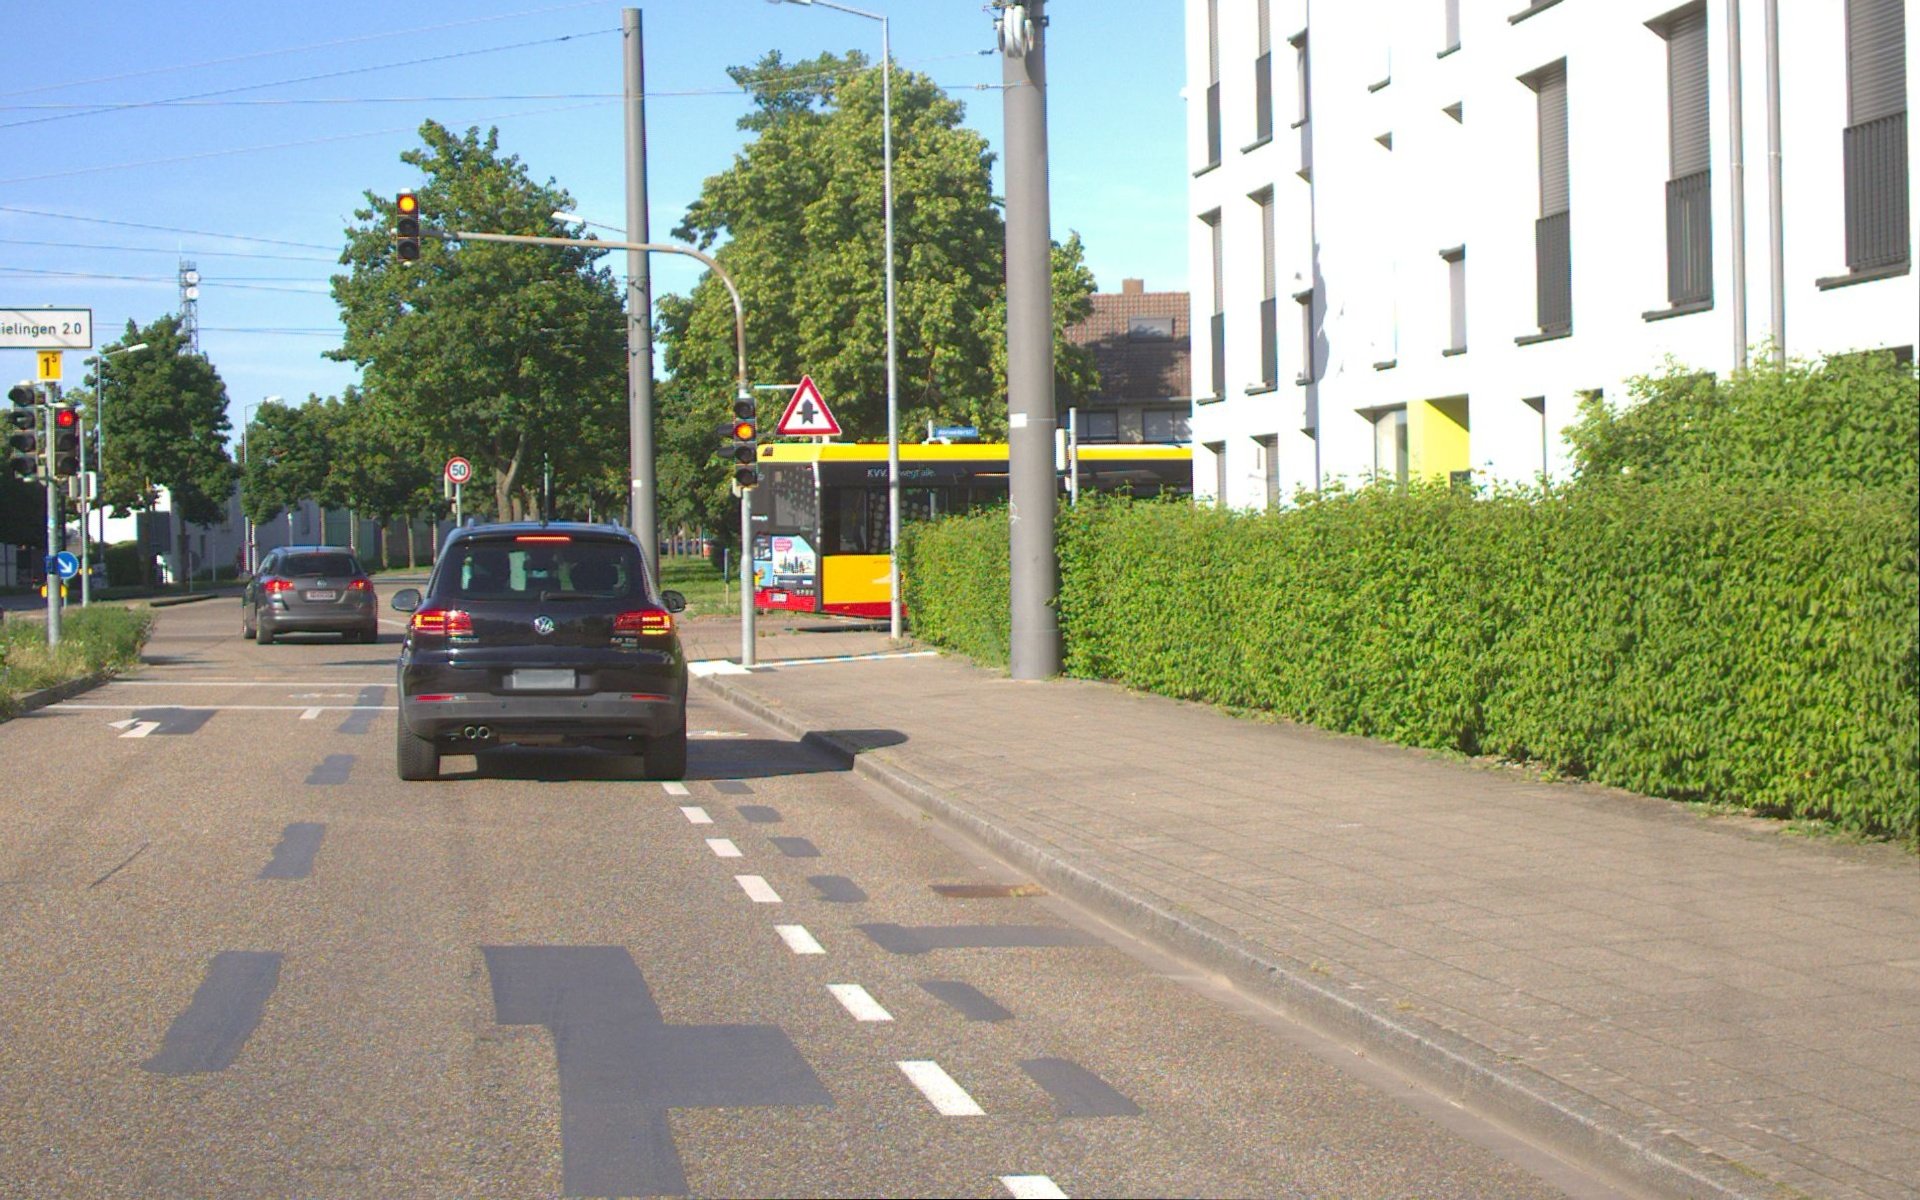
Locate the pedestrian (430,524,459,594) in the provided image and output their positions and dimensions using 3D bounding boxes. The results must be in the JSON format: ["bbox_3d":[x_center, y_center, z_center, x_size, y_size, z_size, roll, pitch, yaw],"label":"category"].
[{"bbox_3d":[-12.148,-0.967,81.078,0.603,1.634,0.529,1,1,-3],"label":"pedestrian"}]

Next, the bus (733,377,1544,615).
[{"bbox_3d":[3.324,-1.616,58.190,14.634,3.658,2.848,0,1,-32],"label":"bus"}]

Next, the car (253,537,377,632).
[{"bbox_3d":[-9.837,-0.262,52.625,1.750,1.382,4.001,1,1,-9],"label":"car"}]

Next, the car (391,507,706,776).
[{"bbox_3d":[-2.835,0.223,23.095,1.905,1.637,4.001,1,1,-9],"label":"car"}]

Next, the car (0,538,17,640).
[{"bbox_3d":[-15.394,-0.089,48.685,3.727,1.426,1.709,-3,2,-10],"label":"car"}]
